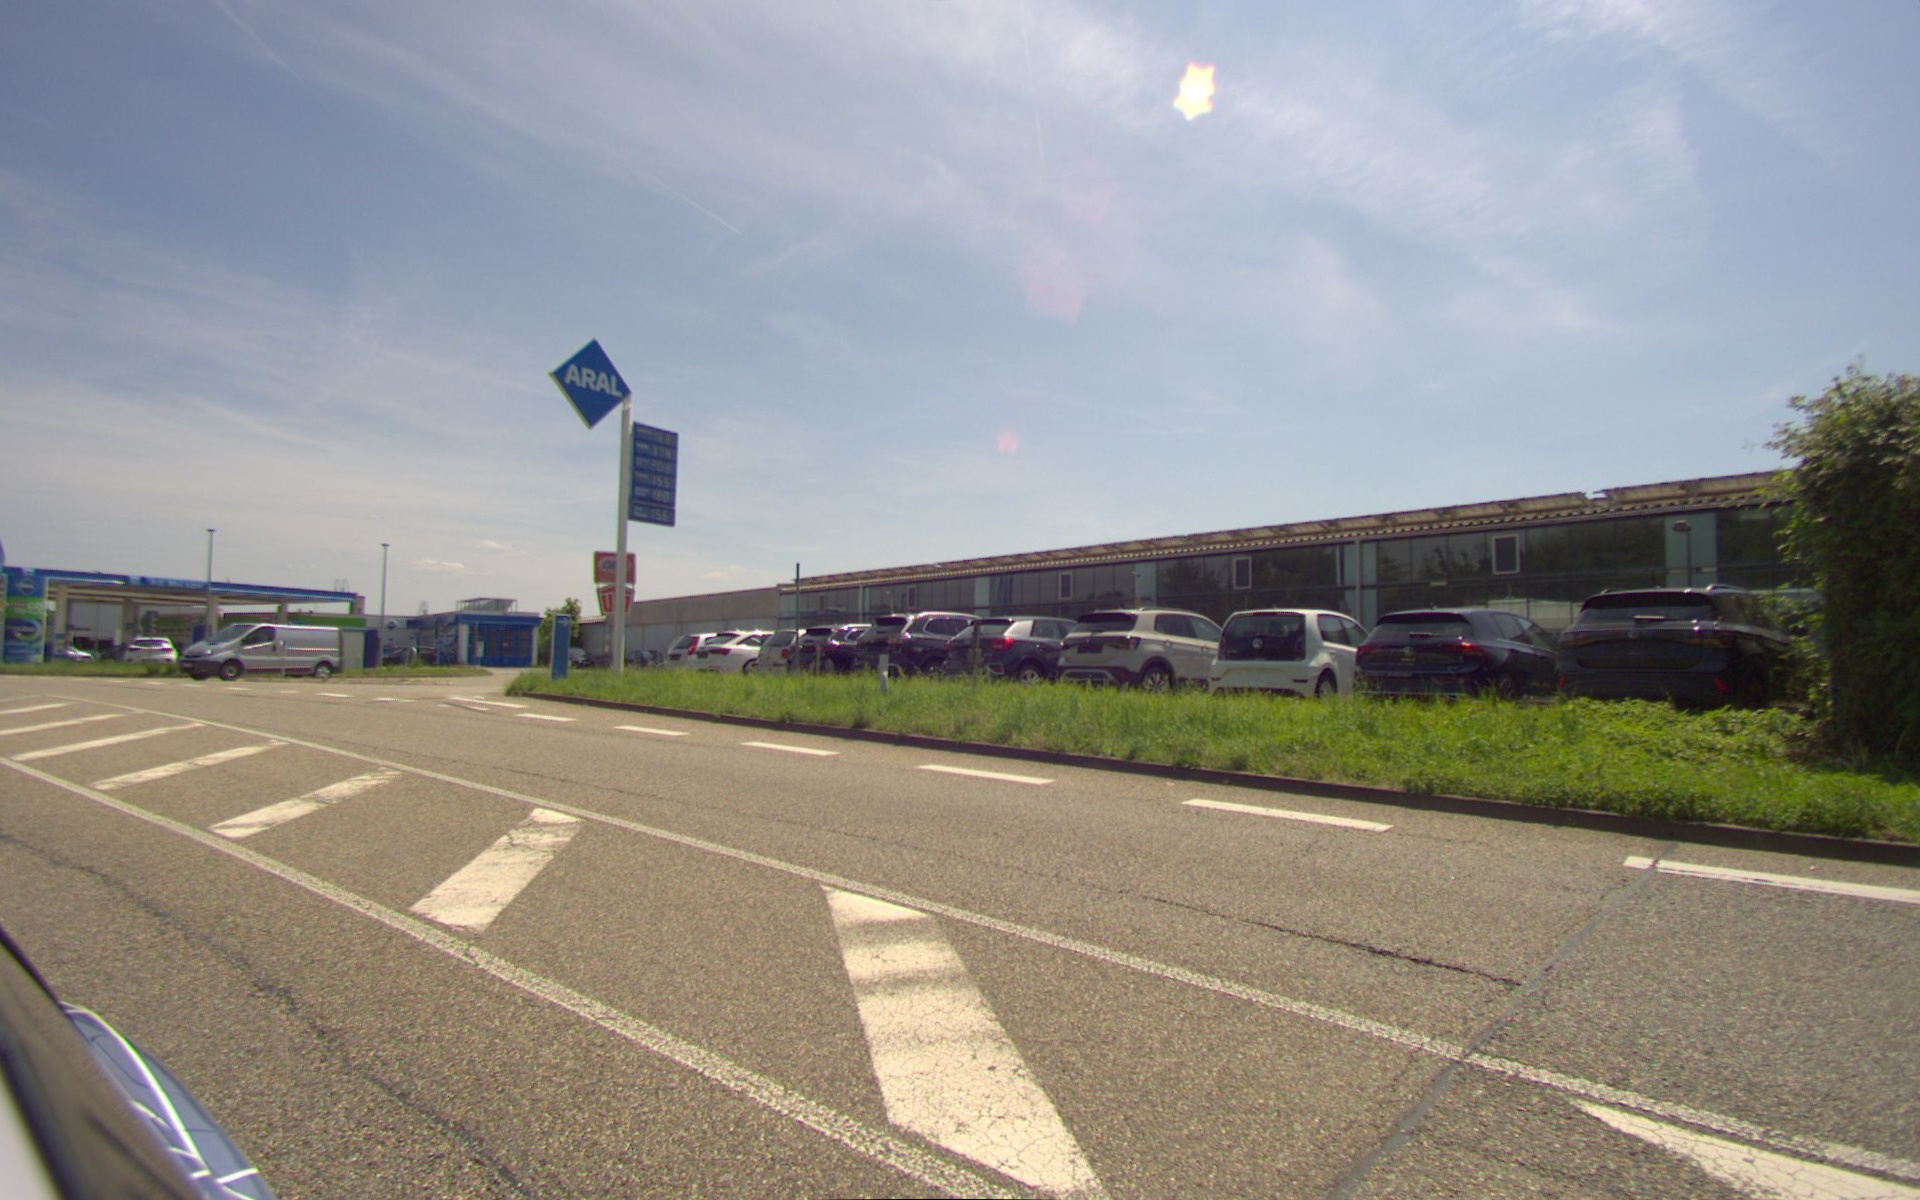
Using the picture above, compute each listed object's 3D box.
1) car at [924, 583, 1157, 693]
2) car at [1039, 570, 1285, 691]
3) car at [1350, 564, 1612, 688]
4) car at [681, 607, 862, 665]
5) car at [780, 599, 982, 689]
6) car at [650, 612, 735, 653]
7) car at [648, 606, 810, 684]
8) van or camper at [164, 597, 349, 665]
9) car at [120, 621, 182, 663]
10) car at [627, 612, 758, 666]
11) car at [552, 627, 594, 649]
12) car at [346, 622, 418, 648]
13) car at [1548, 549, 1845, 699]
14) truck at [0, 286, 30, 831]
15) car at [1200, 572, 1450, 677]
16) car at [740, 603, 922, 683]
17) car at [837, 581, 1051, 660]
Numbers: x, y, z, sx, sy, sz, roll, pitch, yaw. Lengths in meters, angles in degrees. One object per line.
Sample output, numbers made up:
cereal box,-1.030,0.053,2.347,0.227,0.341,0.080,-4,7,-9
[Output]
car,1.515,0.765,18.259,3.937,1.763,2.003,4,-5,-40
car,3.415,0.596,16.781,3.937,1.763,2.003,4,-5,-40
car,6.876,0.432,13.190,3.939,1.373,1.822,5,-5,-43
car,-4.819,0.950,26.195,4.185,1.369,2.002,3,-4,-42
car,-1.668,0.942,21.990,3.937,1.763,2.003,2,-2,-40
car,-13.856,1.697,52.459,3.938,2.029,1.600,3,-4,-41
car,-6.446,1.269,28.472,3.938,2.029,2.002,3,-3,-42
van or camper,-24.101,1.129,34.899,1.893,1.919,4.822,0,-7,25
car,-35.940,1.839,45.051,1.838,1.725,4.530,2,-2,-36
car,-7.914,1.194,30.131,3.401,1.452,1.565,5,-5,-43
car,-26.952,2.672,70.448,1.731,1.453,3.908,1,-3,-37
car,-38.732,2.327,67.866,3.937,1.619,1.950,-1,-1,-40
car,8.232,0.226,11.218,3.650,1.383,1.806,-1,-1,-40
truck,-15.137,-0.310,11.742,17.597,4.124,2.947,0,0,36
car,5.431,0.313,14.837,3.939,1.327,1.835,-1,-1,-43
car,-3.073,1.033,24.542,3.937,1.763,1.938,2,-2,-40
car,-0.257,0.485,20.382,3.937,1.342,2.003,4,-5,-40
